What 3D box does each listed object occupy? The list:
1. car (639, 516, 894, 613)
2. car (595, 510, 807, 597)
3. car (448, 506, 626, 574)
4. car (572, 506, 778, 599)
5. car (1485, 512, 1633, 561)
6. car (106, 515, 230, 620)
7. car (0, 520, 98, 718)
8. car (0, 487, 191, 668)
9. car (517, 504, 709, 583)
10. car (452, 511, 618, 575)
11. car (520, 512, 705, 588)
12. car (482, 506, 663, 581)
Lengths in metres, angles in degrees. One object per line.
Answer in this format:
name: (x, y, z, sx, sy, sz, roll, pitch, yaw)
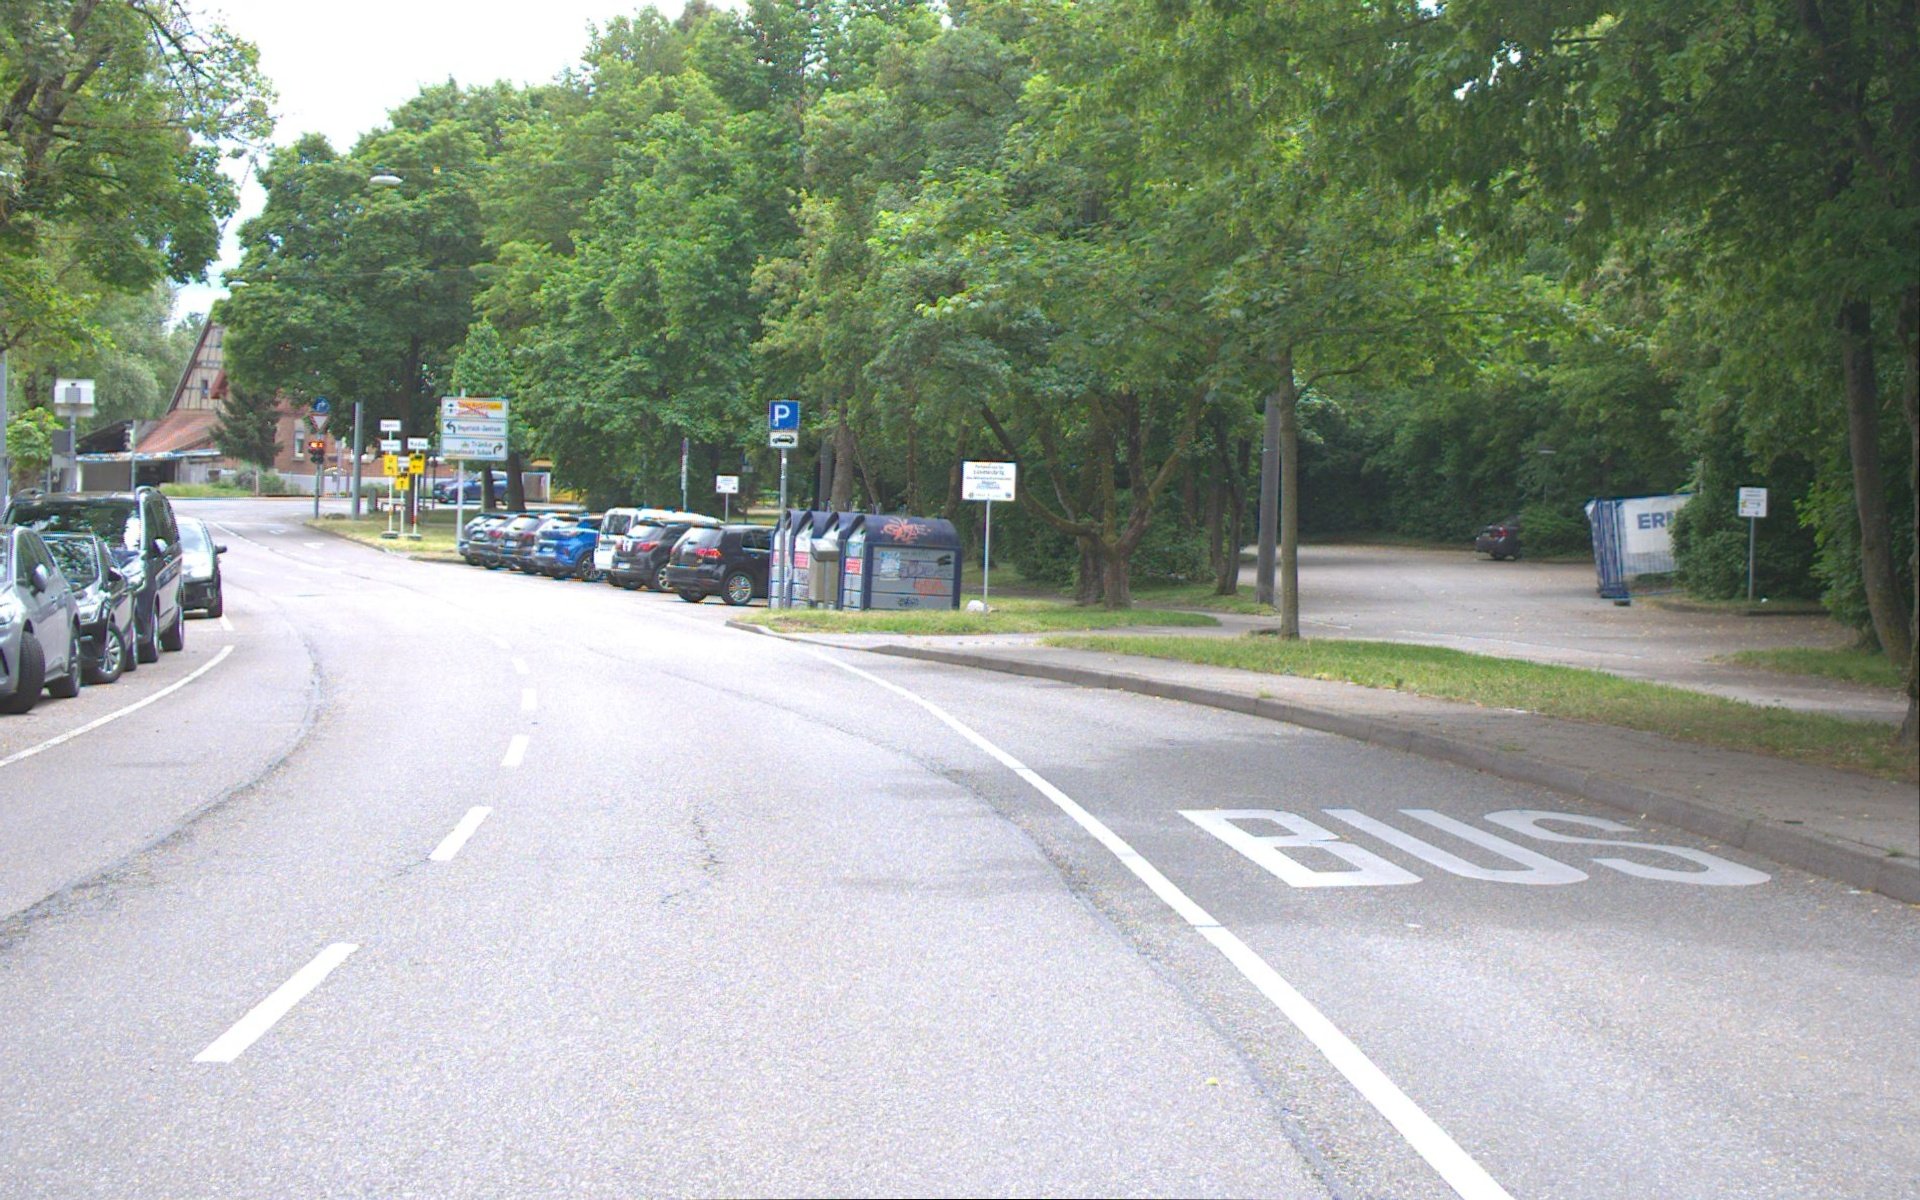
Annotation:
car: (-3.457, -0.633, 61.575, 3.987, 1.409, 2.058, 3, 2, -34)
car: (-5.229, -0.937, 69.522, 3.819, 1.463, 1.746, 3, 1, -34)
car: (-10.377, -1.479, 84.434, 3.873, 1.421, 1.830, 3, 0, -34)
car: (-5.993, -0.997, 72.410, 3.819, 1.714, 1.878, 3, 0, -34)
car: (17.936, -1.903, 103.050, 3.986, 1.405, 1.801, 1, 1, -9)
car: (-12.710, -0.550, 55.203, 1.804, 1.557, 4.268, -2, 2, -13)
car: (-8.471, 0.097, 28.850, 1.866, 1.533, 4.228, 1, 1, -7)
car: (-9.836, -0.298, 38.911, 1.857, 1.902, 5.084, 1, 1, -9)
car: (-7.740, -1.249, 76.751, 3.819, 1.523, 1.746, 3, 0, -34)
car: (-11.023, -1.485, 89.233, 3.819, 1.420, 1.746, 3, 0, -34)
car: (-8.048, -1.155, 79.737, 3.819, 1.523, 1.746, 3, 0, -34)
car: (-9.176, -1.334, 81.491, 3.819, 1.523, 1.746, 3, 0, -34)
